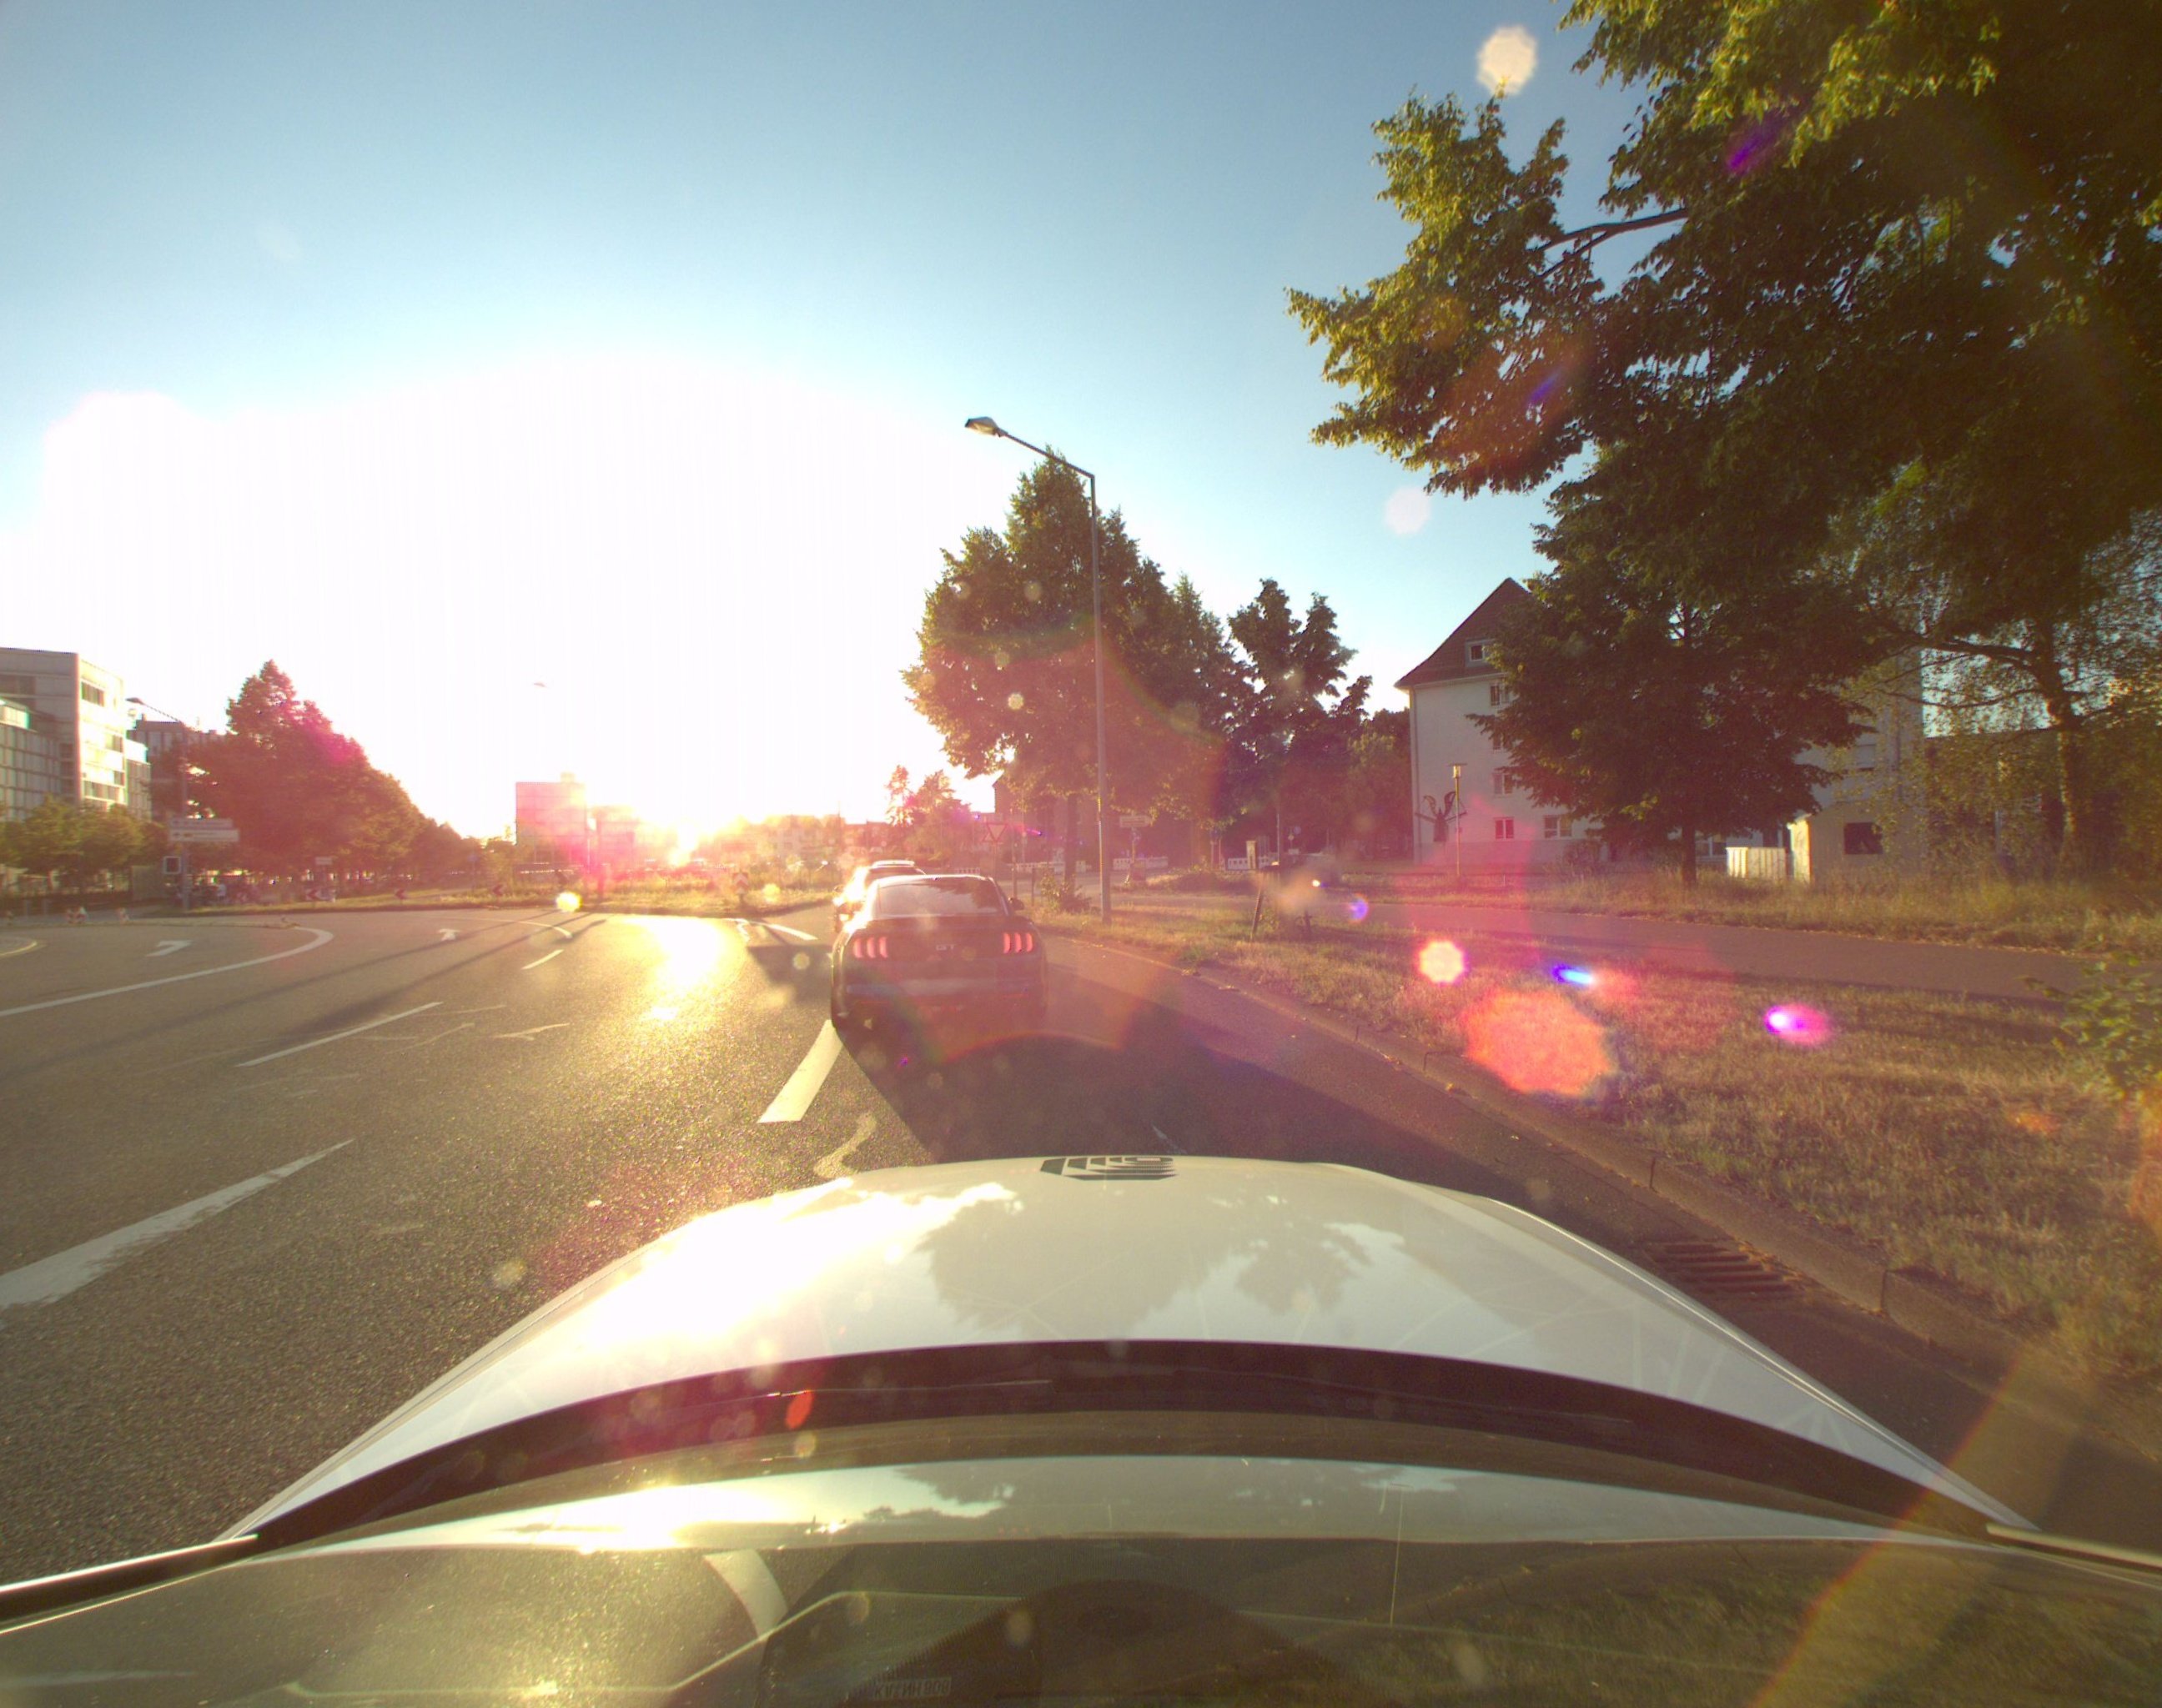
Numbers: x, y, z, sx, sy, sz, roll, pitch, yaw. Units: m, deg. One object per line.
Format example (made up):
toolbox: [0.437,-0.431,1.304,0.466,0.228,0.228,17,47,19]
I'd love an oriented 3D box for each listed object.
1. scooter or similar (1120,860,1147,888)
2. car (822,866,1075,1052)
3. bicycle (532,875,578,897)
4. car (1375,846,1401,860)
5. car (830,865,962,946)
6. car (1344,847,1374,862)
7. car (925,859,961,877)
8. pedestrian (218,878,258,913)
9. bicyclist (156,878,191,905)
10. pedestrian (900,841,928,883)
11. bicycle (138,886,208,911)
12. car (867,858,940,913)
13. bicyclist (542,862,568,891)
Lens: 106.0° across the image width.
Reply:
scooter or similar: [2.423,0.912,37.460,1.122,1.238,0.440,-1,0,-16]
car: [-1.569,0.827,8.638,1.954,1.342,4.647,-1,0,-14]
bicycle: [-29.384,1.771,45.493,2.383,1.167,0.758,-2,-1,16]
car: [37.554,-0.146,99.678,1.932,1.602,4.103,-1,0,36]
car: [-3.950,0.940,16.808,1.959,1.427,4.396,1,-1,-22]
car: [30.140,0.045,88.302,1.932,1.602,4.103,-1,0,36]
car: [-13.996,1.426,82.280,2.009,1.706,3.955,-1,-1,-37]
pedestrian: [-45.859,2.244,44.309,1.159,1.827,0.975,-2,-1,-13]
bicyclist: [-48.516,2.009,43.522,0.978,1.394,0.750,-2,-1,-18]
pedestrian: [-6.946,0.335,33.869,0.850,1.686,0.877,-1,0,-35]
bicycle: [-48.524,2.359,43.533,2.408,1.167,0.750,-2,0,-18]
car: [-5.747,0.957,26.785,1.950,1.602,4.067,-2,0,-7]
bicyclist: [-29.380,1.253,45.482,0.967,1.612,0.758,-2,-1,16]
